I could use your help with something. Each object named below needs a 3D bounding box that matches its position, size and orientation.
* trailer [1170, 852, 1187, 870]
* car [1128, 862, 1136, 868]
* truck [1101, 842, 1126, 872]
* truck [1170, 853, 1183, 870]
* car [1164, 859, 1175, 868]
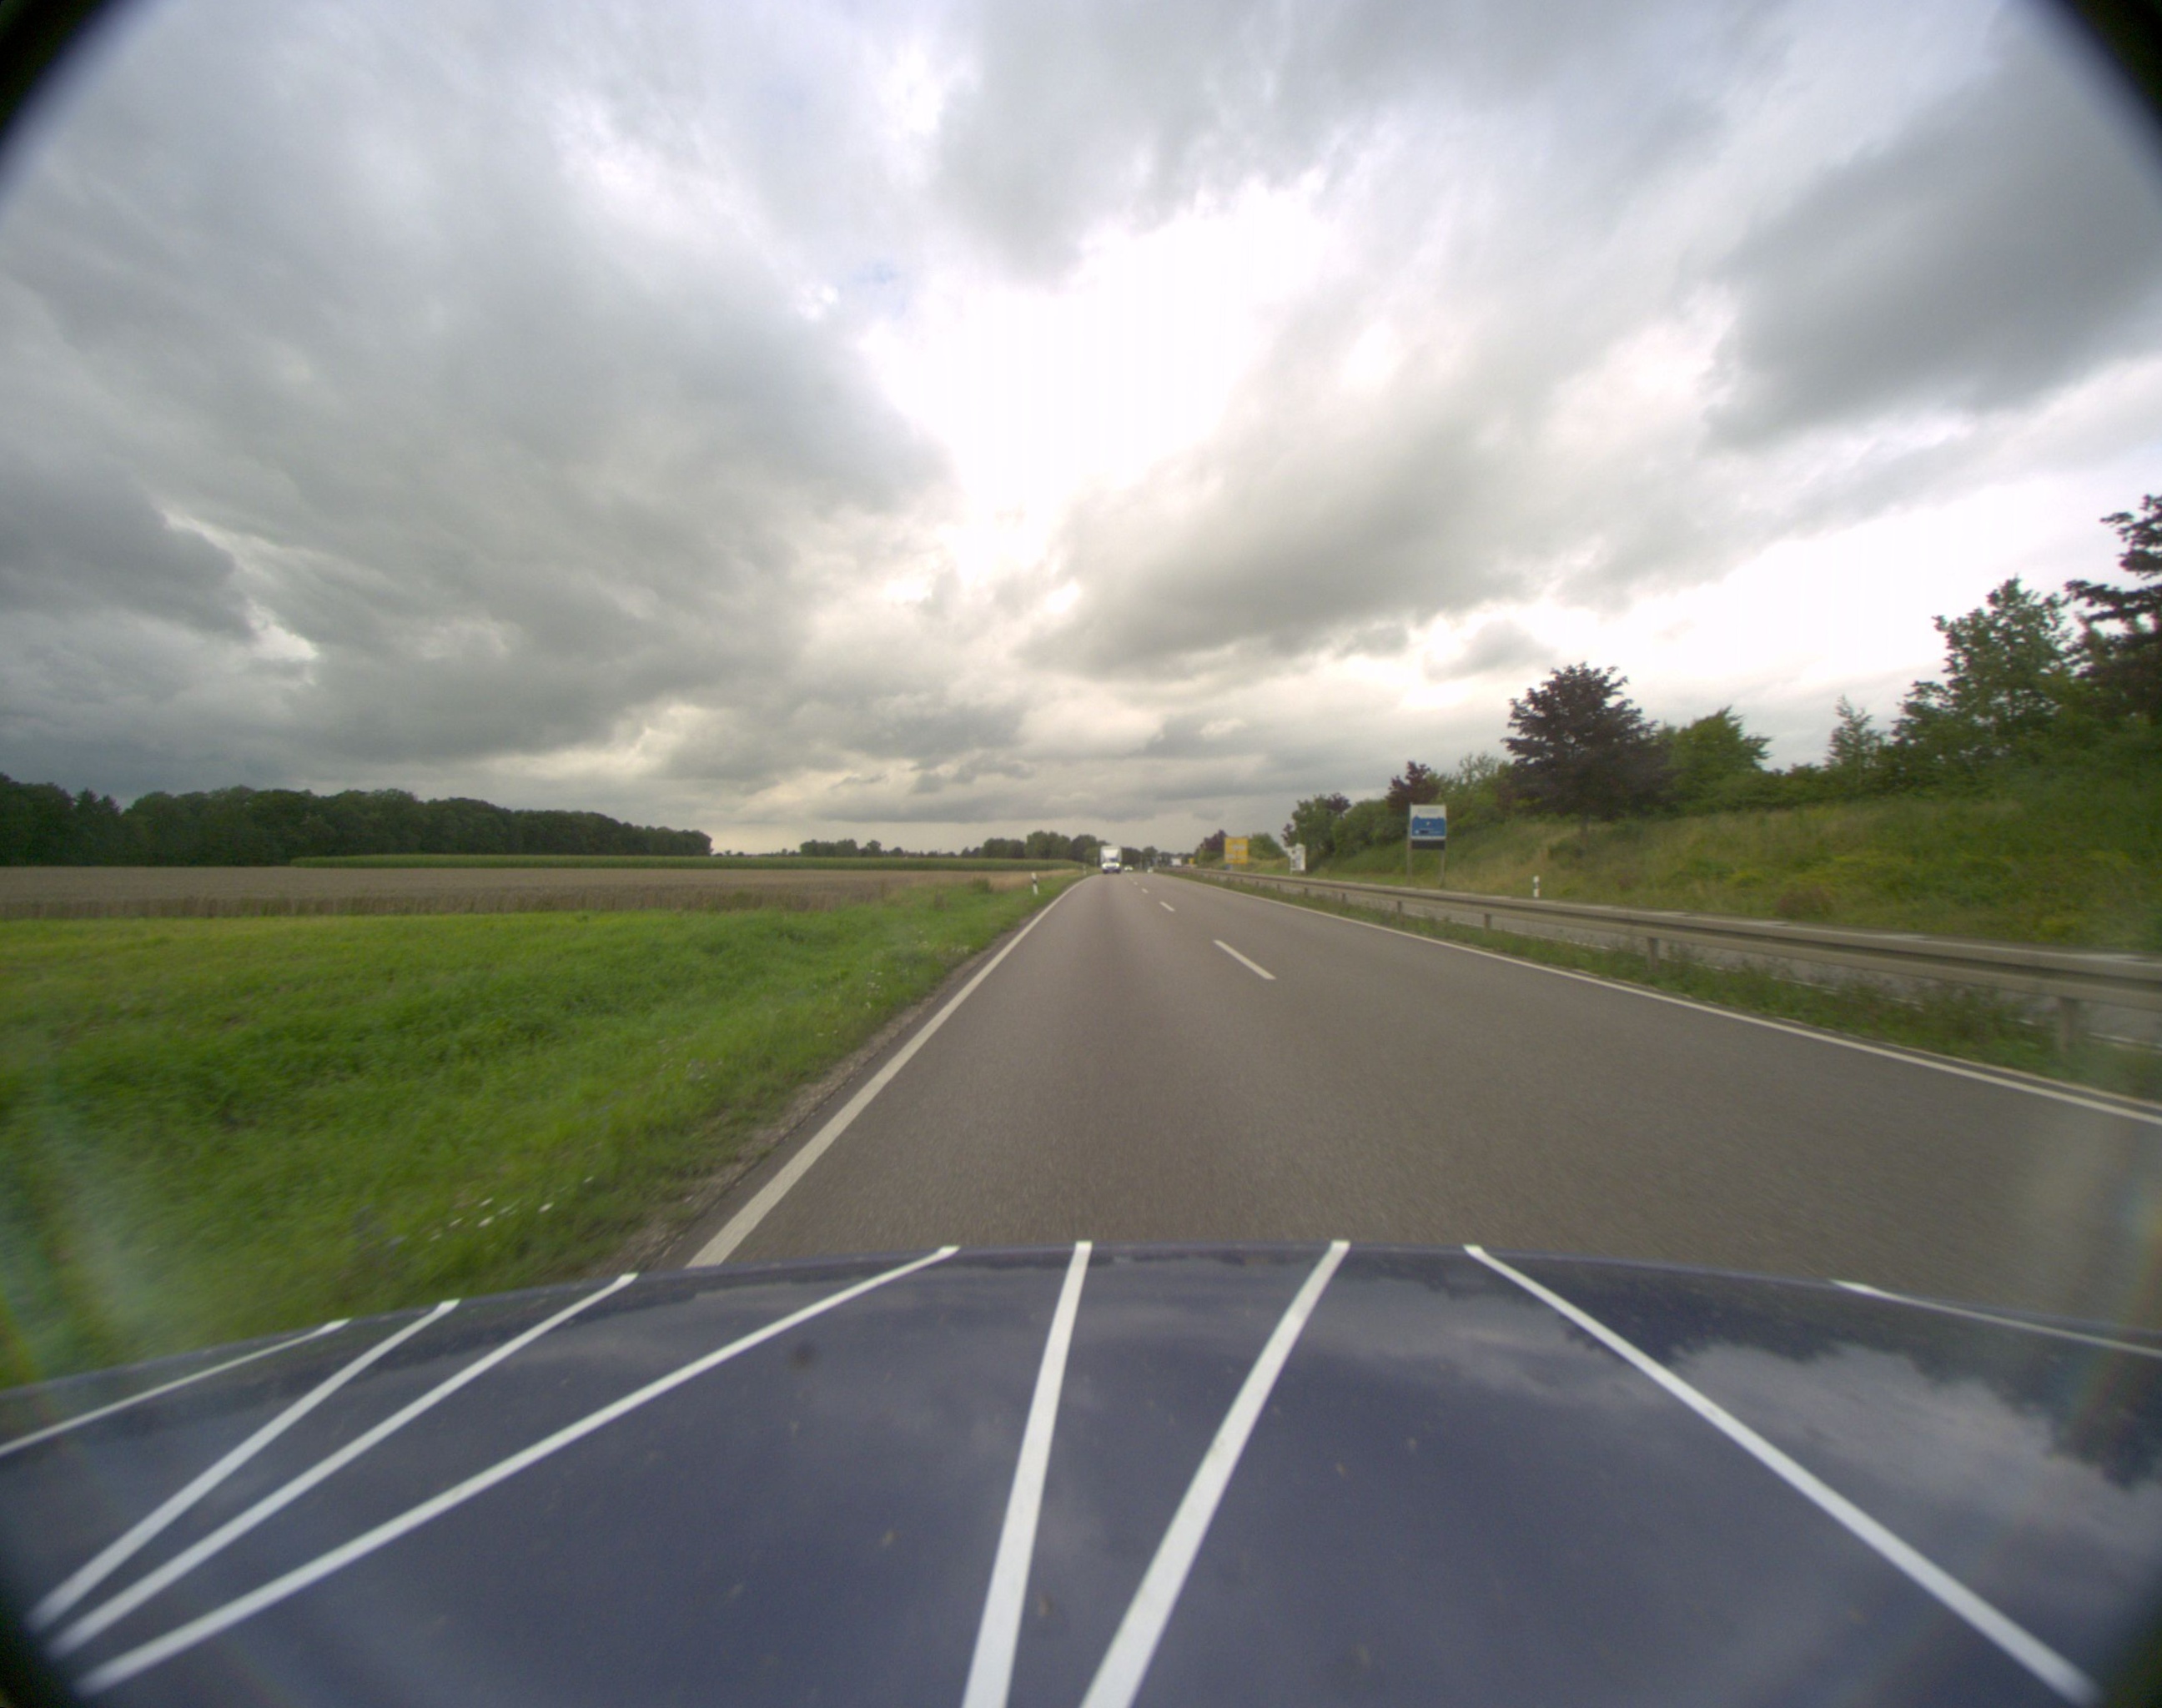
[{"bbox_3d":[22.102,1.756,172.649,2.781,3.923,12.991,0,-1,3],"label":"trailer"},{"bbox_3d":[13.260,2.944,198.315,2.090,1.510,4.195,0,-1,5],"label":"car"},{"bbox_3d":[4.309,0.479,99.277,2.933,3.651,8.447,0,-1,4],"label":"truck"},{"bbox_3d":[22.550,1.887,180.113,2.809,3.973,5.289,0,-1,4],"label":"truck"},{"bbox_3d":[16.076,1.741,138.608,1.758,1.477,4.579,0,-1,4],"label":"car"}]
